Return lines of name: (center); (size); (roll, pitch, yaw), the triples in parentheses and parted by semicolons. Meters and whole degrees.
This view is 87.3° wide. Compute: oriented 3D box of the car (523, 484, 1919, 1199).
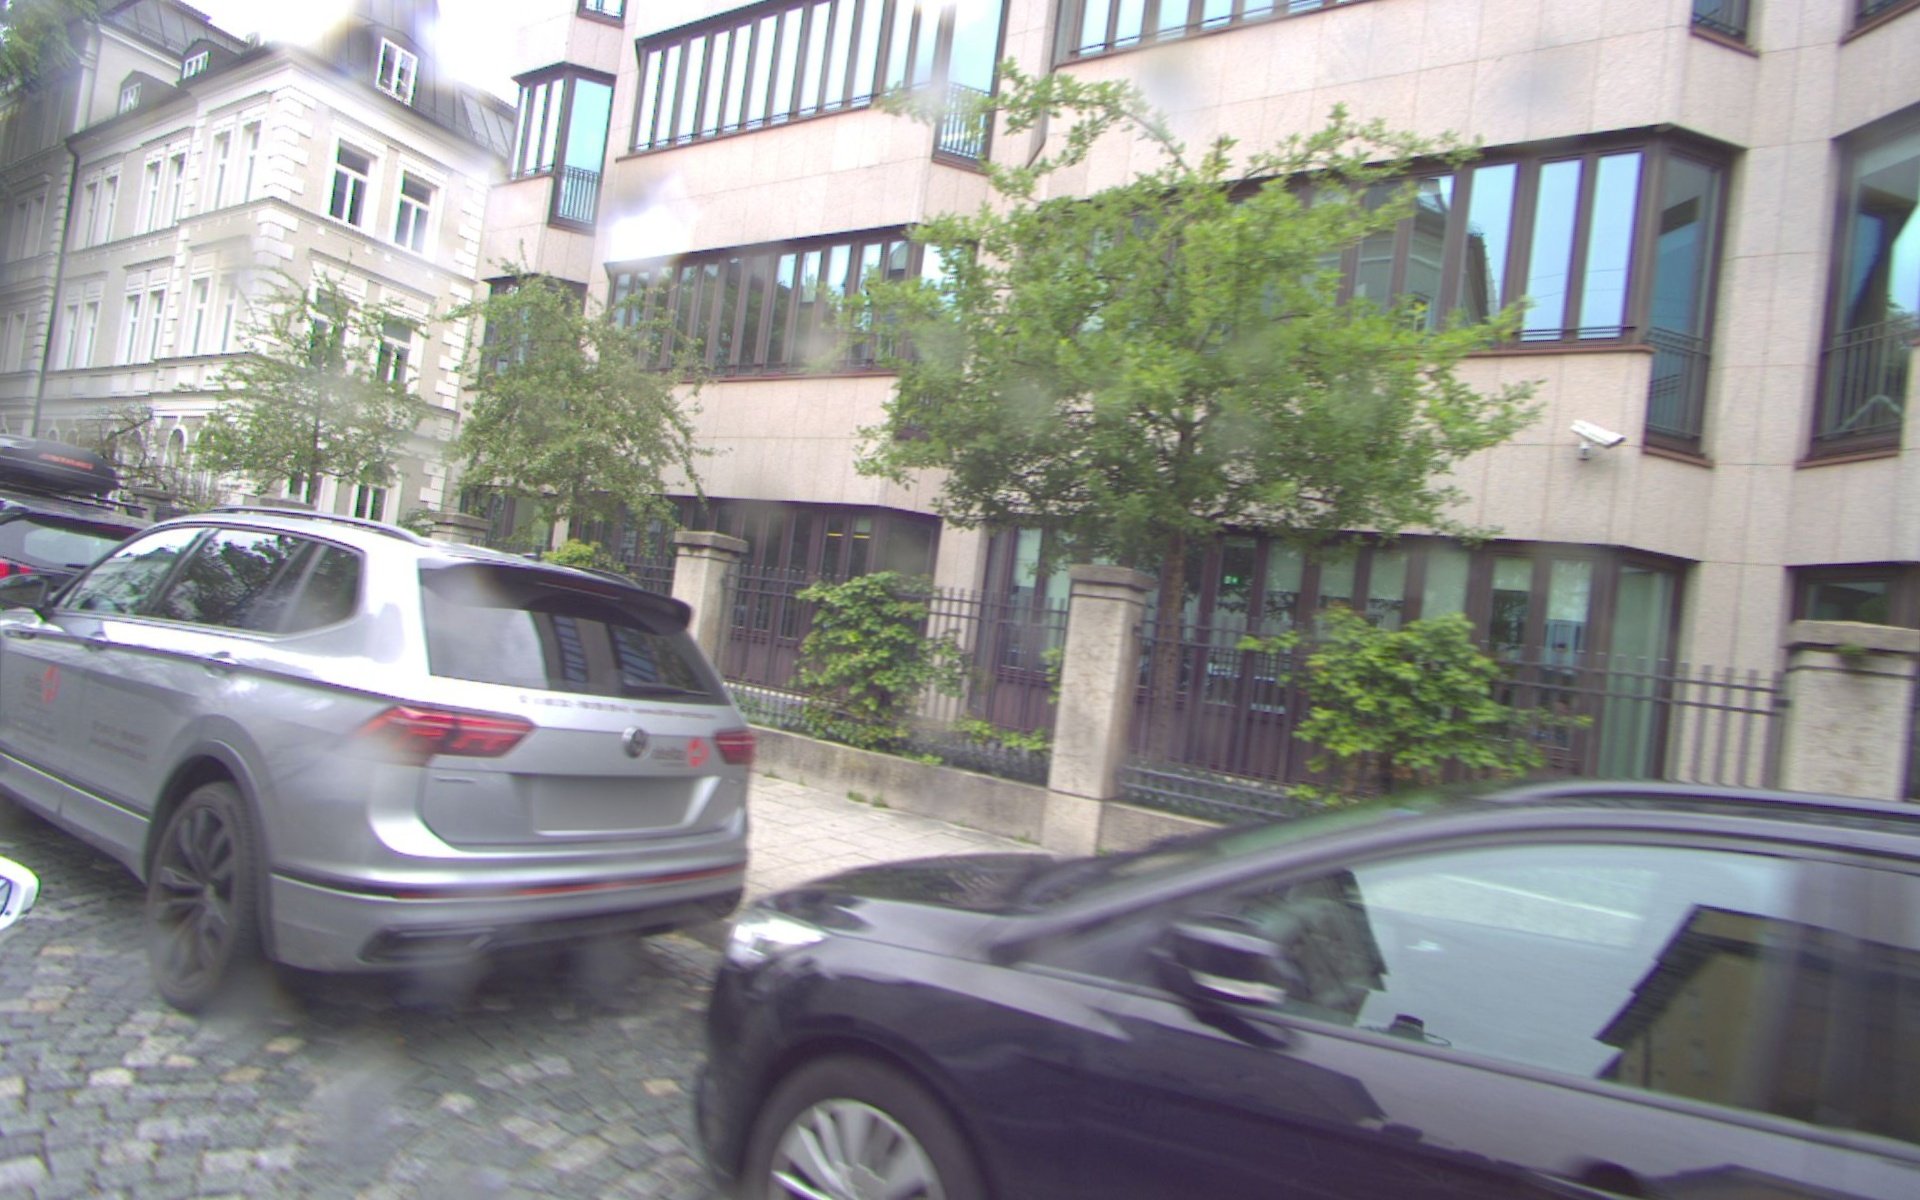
car: (1.485, 0.952, 2.131); (4.581, 1.751, 1.881); (6, -6, 31)

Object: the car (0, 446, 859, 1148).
car: (-3.036, 0.418, 4.640); (4.812, 1.752, 1.879); (6, -5, 33)

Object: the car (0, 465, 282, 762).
car: (-7.655, -0.070, 7.790); (4.667, 1.751, 1.882); (7, -6, 30)
